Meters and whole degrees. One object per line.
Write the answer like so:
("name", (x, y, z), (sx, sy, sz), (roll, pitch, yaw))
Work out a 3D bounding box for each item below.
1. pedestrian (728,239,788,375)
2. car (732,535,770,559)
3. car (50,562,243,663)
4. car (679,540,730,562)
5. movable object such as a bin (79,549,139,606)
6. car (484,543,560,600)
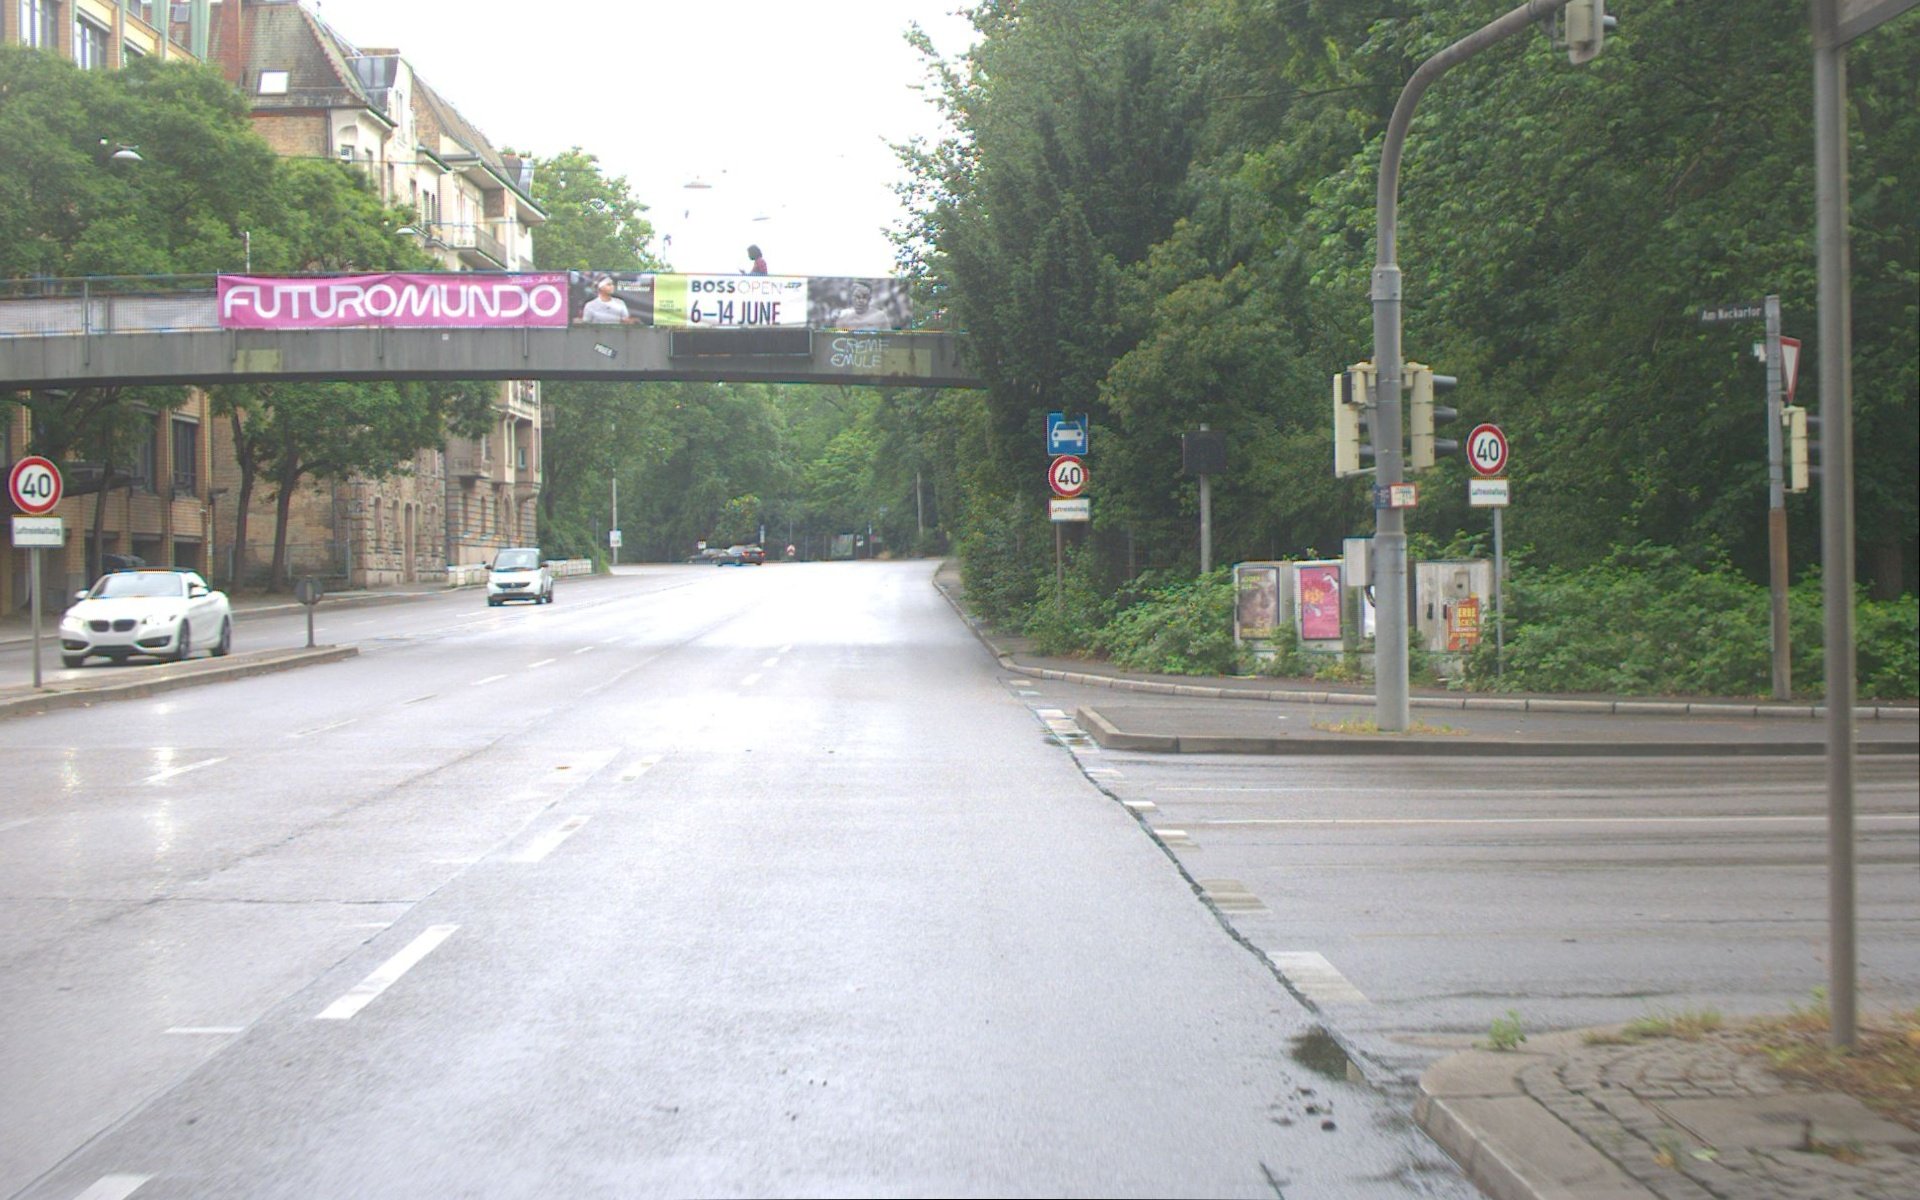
("pedestrian", (-3.639, -5.262, 61.846), (0.954, 2.337, 1.007), (2, 0, -7))
("car", (-14.417, -3.631, 236.972), (2.004, 1.638, 4.377), (0, 1, -11))
("car", (-11.978, 0.153, 50.866), (1.830, 1.389, 4.405), (-1, 1, -1))
("car", (-19.183, -3.666, 258.152), (3.587, 1.542, 1.613), (2, 0, 1))
("movable object such as a bin", (-22.783, -0.597, 92.083), (1.282, 1.513, 1.273), (0, 1, 0))
("car", (-12.034, -0.792, 94.595), (1.600, 1.494, 3.712), (-1, 1, -1))
